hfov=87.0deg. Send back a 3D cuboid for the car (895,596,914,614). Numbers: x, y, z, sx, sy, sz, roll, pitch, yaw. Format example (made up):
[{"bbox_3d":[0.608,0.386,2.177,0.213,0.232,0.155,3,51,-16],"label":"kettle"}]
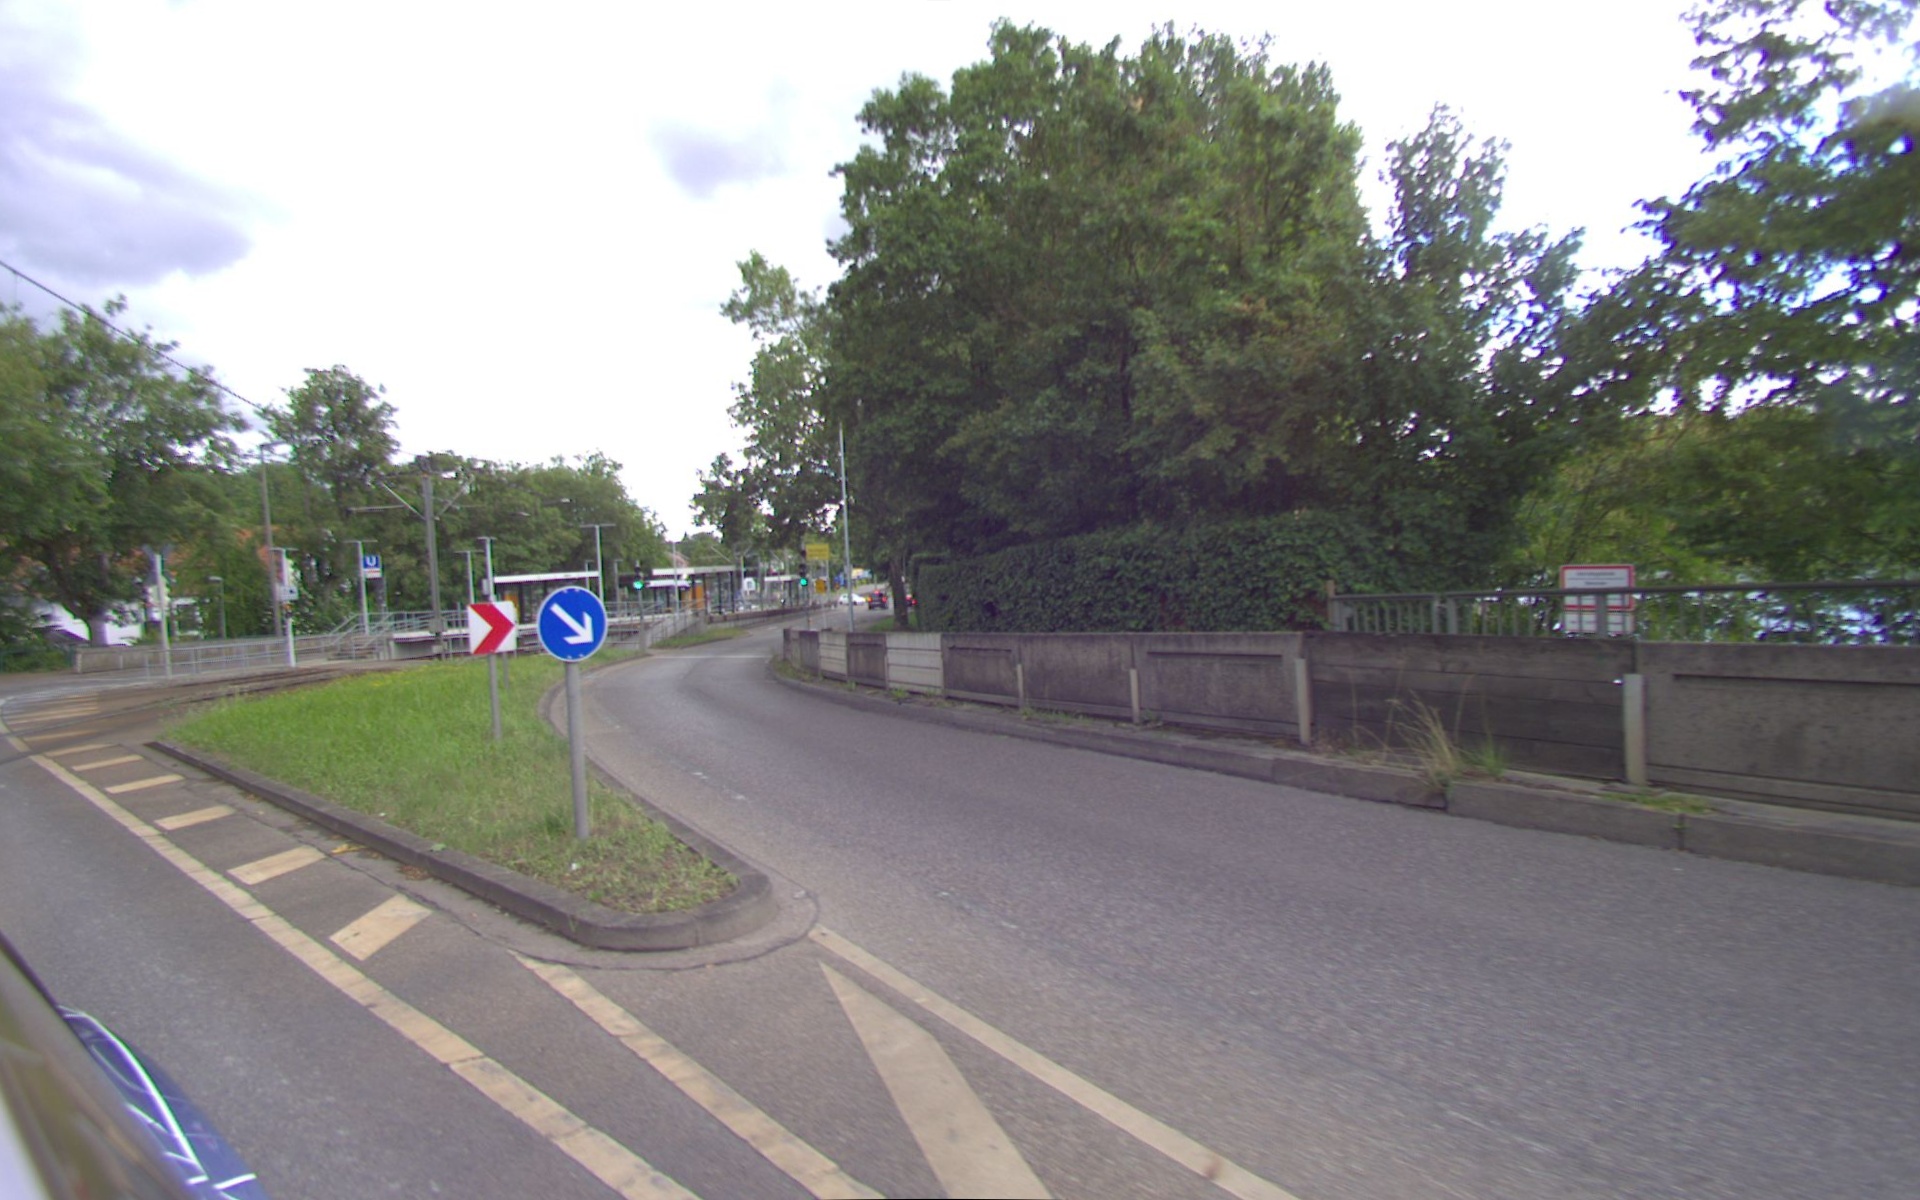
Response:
[{"bbox_3d":[-6.035,0.539,110.327,1.719,1.853,3.798,-2,0,1],"label":"car"}]

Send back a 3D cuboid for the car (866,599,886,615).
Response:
[{"bbox_3d":[-9.227,0.754,111.221,1.748,1.712,3.792,-2,0,1],"label":"car"}]
